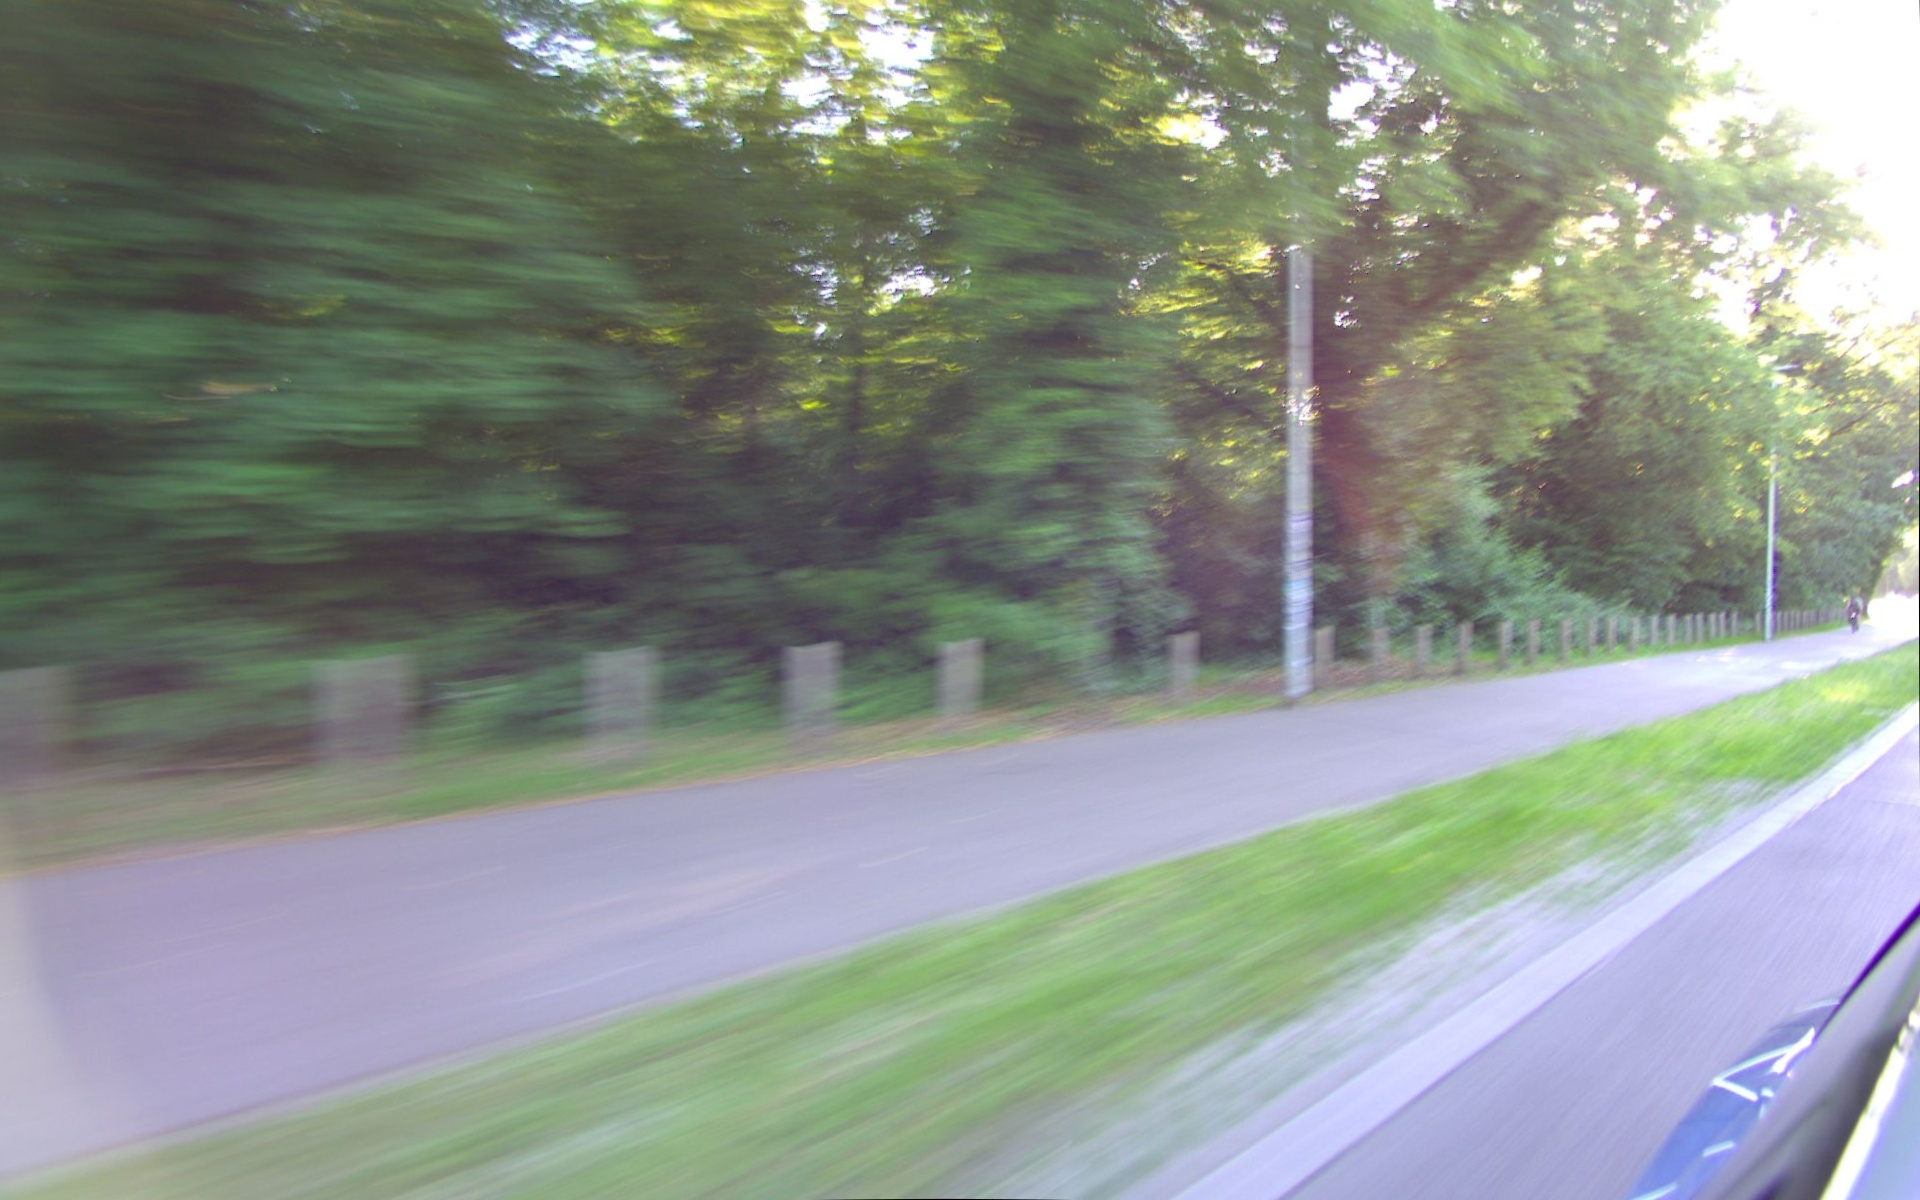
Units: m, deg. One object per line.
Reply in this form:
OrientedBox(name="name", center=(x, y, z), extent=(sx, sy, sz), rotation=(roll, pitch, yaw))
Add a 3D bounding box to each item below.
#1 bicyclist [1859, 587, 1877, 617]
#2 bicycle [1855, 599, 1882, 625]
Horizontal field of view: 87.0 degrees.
OrientedBox(name="bicyclist", center=(39.040, 0.068, 43.526), extent=(0.489, 1.283, 0.513), rotation=(0, 1, -43))
OrientedBox(name="bicycle", center=(39.180, 0.516, 43.637), extent=(2.826, 1.070, 0.607), rotation=(0, 1, -43))
